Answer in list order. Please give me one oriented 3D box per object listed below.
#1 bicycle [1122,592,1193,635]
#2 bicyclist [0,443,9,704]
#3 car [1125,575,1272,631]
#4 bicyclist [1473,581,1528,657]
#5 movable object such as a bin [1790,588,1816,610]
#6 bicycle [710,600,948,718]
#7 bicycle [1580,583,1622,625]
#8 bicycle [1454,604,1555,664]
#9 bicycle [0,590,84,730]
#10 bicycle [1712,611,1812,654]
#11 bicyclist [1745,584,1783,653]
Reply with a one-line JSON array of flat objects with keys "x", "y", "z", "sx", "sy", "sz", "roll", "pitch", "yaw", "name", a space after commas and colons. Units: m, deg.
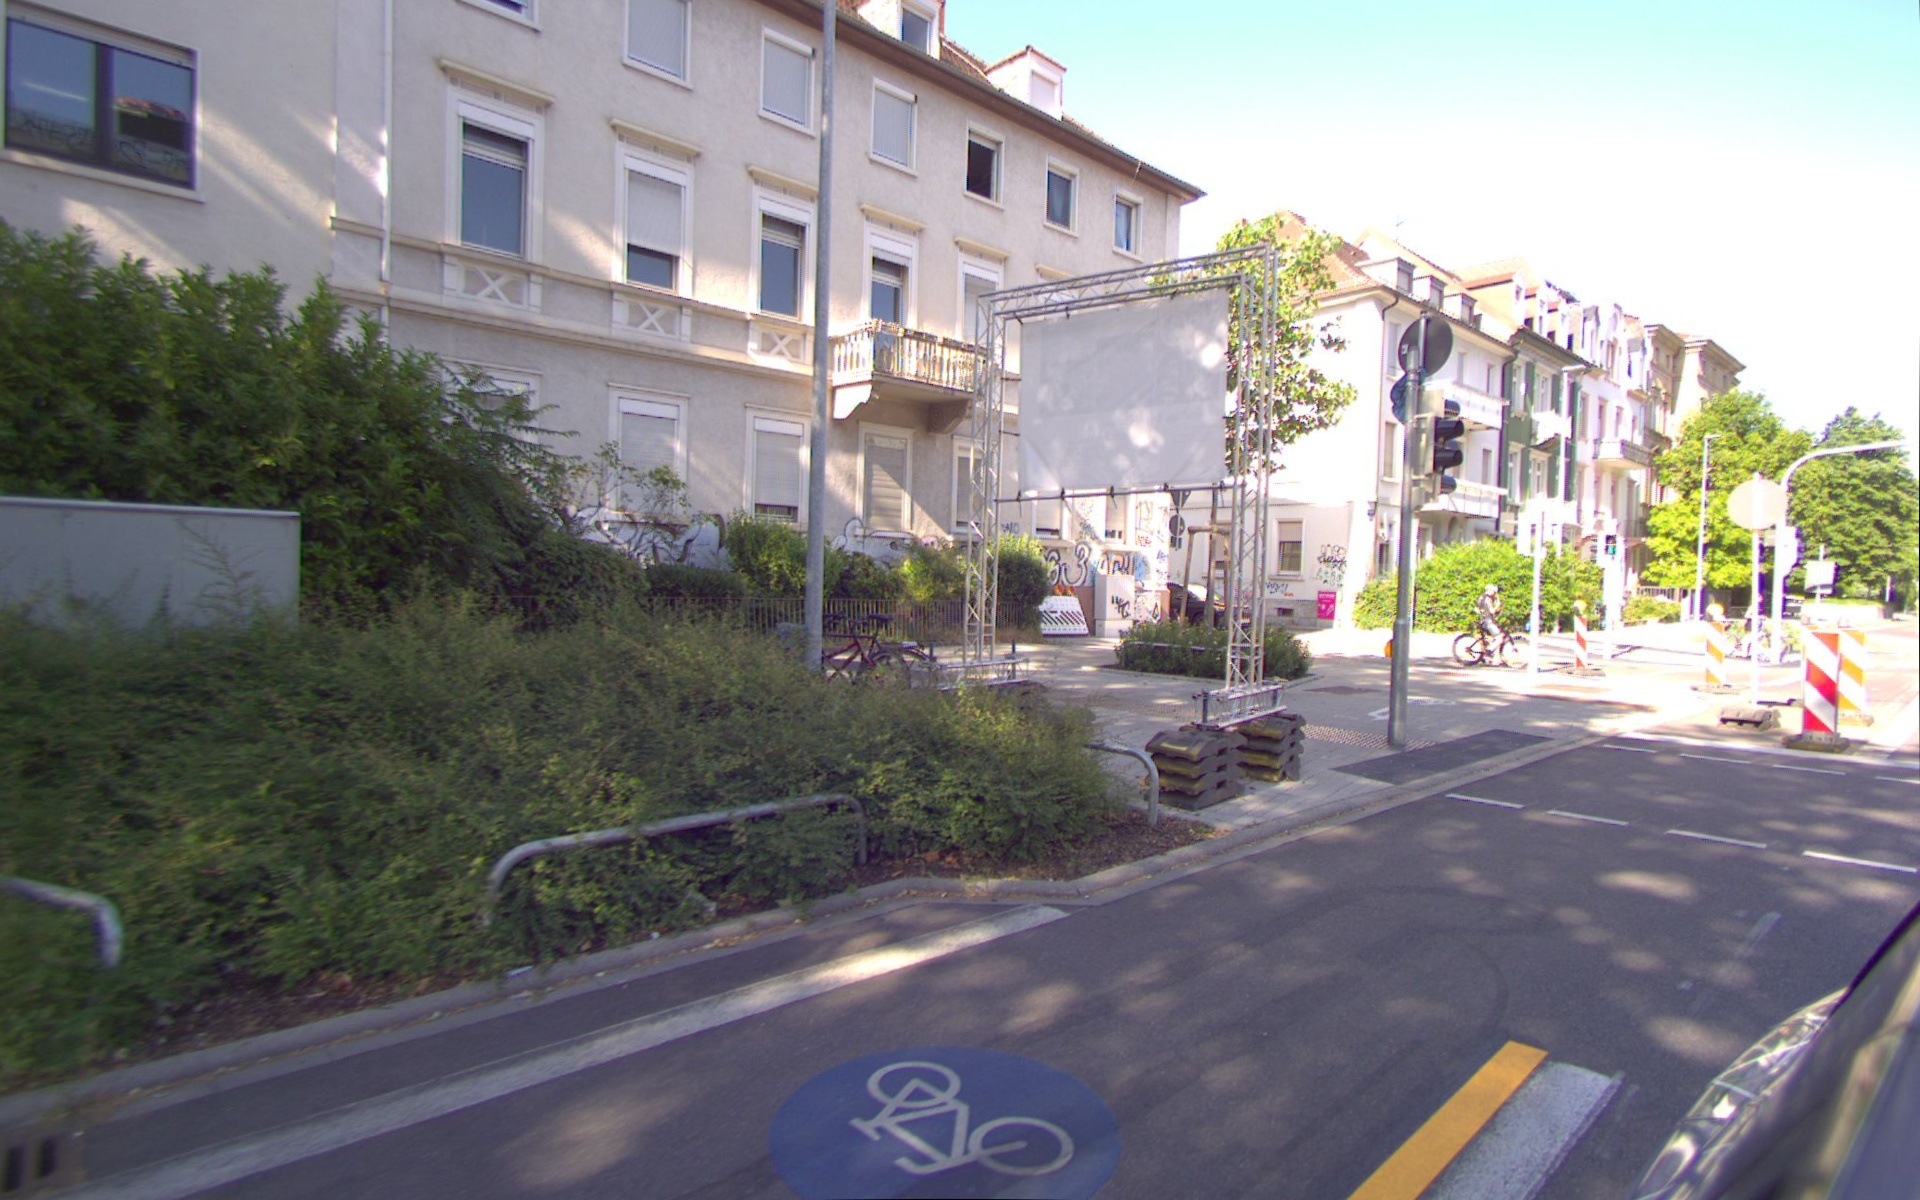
[{"x": 5.375, "y": 0.343, "z": 27.638, "sx": 0.569, "sy": 1.093, "sz": 2.001, "roll": 0, "pitch": 1, "yaw": -40, "name": "bicycle"}, {"x": -7.418, "y": -0.198, "z": 7.097, "sx": 1.052, "sy": 1.843, "sz": 0.725, "roll": 0, "pitch": 1, "yaw": -41, "name": "bicyclist"}, {"x": 7.444, "y": 0.034, "z": 31.949, "sx": 1.948, "sy": 1.639, "sz": 4.263, "roll": 0, "pitch": 1, "yaw": -37, "name": "car"}, {"x": 11.272, "y": 0.378, "z": 21.132, "sx": 0.860, "sy": 1.518, "sz": 0.722, "roll": 2, "pitch": 1, "yaw": 18, "name": "bicyclist"}, {"x": 56.859, "y": -0.086, "z": 68.258, "sx": 0.964, "sy": 1.415, "sz": 1.277, "roll": 4, "pitch": 2, "yaw": 25, "name": "movable object such as a bin"}, {"x": -1.197, "y": 0.538, "z": 9.341, "sx": 2.088, "sy": 1.017, "sz": 0.590, "roll": 1, "pitch": 1, "yaw": -7, "name": "bicycle"}, {"x": 23.036, "y": 0.161, "z": 36.349, "sx": 2.449, "sy": 1.462, "sz": 0.709, "roll": 1, "pitch": 0, "yaw": -44, "name": "bicycle"}, {"x": 11.309, "y": 0.692, "z": 21.070, "sx": 1.664, "sy": 1.111, "sz": 0.687, "roll": 4, "pitch": 1, "yaw": 17, "name": "bicycle"}, {"x": -7.401, "y": 0.421, "z": 7.164, "sx": 1.791, "sy": 0.978, "sz": 0.784, "roll": 0, "pitch": 1, "yaw": -40, "name": "bicycle"}, {"x": 20.850, "y": 0.829, "z": 26.340, "sx": 0.594, "sy": 1.038, "sz": 1.965, "roll": 1, "pitch": 0, "yaw": -42, "name": "bicycle"}, {"x": 20.855, "y": 0.476, "z": 26.259, "sx": 0.844, "sy": 1.730, "sz": 0.604, "roll": 1, "pitch": 1, "yaw": -42, "name": "bicyclist"}]
